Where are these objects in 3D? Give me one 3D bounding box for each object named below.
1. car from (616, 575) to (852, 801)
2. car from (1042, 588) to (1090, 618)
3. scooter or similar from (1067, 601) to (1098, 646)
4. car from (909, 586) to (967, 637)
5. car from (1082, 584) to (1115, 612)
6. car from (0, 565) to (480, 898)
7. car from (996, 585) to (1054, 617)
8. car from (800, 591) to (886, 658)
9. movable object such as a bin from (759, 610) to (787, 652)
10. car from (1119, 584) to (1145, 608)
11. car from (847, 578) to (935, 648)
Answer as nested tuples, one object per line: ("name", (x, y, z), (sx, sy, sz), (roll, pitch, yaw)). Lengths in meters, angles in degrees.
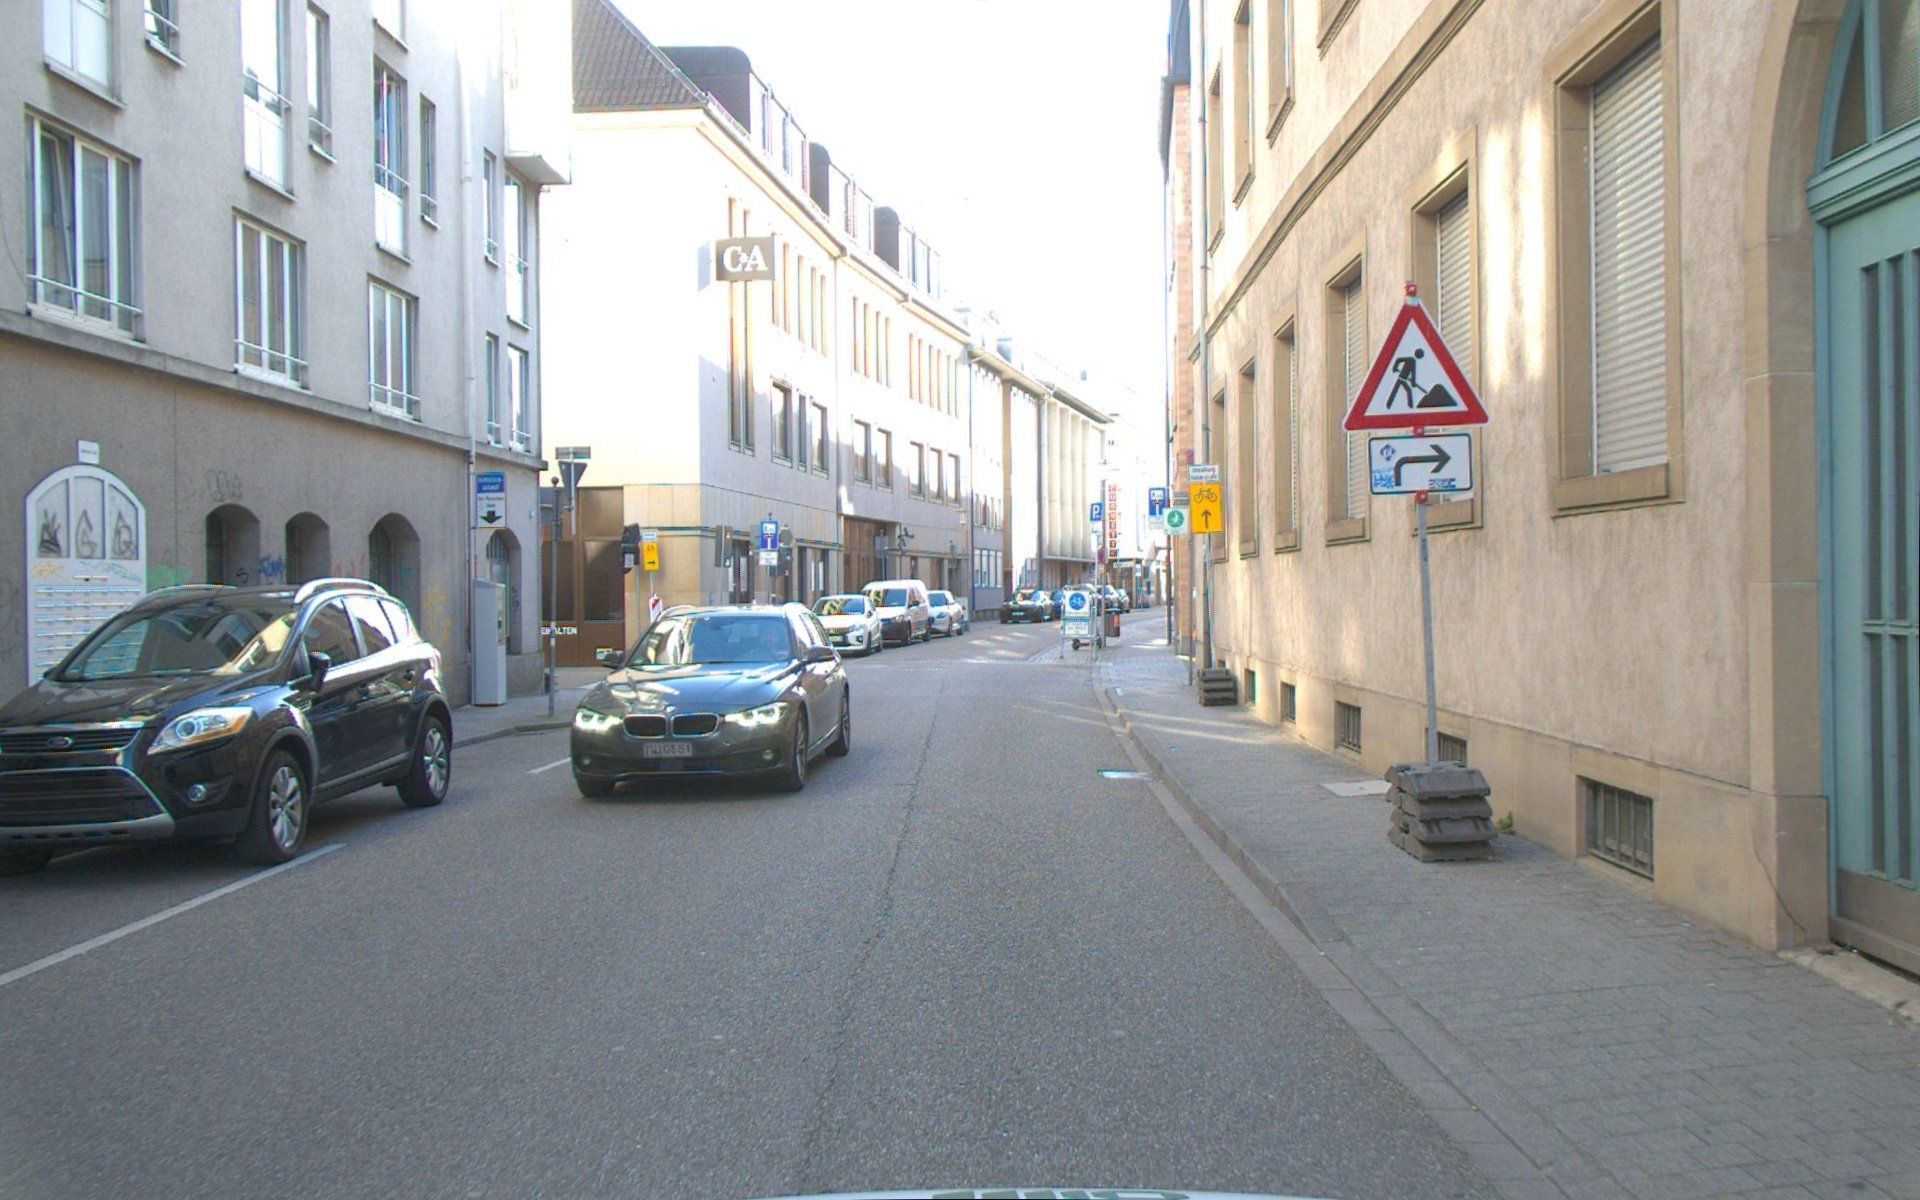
("car", (-1.896, 0.632, 14.149), (1.682, 1.605, 4.184), (-1, 0, -7))
("car", (5.170, 0.128, 80.216), (1.687, 1.364, 4.004), (-1, 0, 13))
("scooter or similar", (3.162, 0.605, 42.648), (0.754, 1.156, 0.269), (2, 0, 5))
("car", (-0.674, 0.352, 53.636), (1.244, 1.533, 3.405), (-2, 0, 9))
("car", (7.823, -0.121, 93.246), (1.310, 1.520, 3.513), (-1, 0, 13))
("car", (-4.788, 0.709, 11.103), (1.704, 1.740, 4.191), (-3, 0, 2))
("car", (2.930, 0.022, 73.874), (1.841, 1.355, 4.104), (-1, 0, 13))
("car", (-2.897, 0.575, 41.676), (1.635, 1.533, 3.795), (-2, 0, 3))
("movable object such as a bin", (-4.847, 0.799, 42.928), (0.596, 1.079, 0.713), (2, 0, 0))
("car", (11.502, -0.269, 110.411), (1.310, 1.520, 3.350), (-1, 0, 13))
("car", (-1.930, 0.328, 47.503), (1.635, 1.850, 4.556), (-2, 0, 8))
